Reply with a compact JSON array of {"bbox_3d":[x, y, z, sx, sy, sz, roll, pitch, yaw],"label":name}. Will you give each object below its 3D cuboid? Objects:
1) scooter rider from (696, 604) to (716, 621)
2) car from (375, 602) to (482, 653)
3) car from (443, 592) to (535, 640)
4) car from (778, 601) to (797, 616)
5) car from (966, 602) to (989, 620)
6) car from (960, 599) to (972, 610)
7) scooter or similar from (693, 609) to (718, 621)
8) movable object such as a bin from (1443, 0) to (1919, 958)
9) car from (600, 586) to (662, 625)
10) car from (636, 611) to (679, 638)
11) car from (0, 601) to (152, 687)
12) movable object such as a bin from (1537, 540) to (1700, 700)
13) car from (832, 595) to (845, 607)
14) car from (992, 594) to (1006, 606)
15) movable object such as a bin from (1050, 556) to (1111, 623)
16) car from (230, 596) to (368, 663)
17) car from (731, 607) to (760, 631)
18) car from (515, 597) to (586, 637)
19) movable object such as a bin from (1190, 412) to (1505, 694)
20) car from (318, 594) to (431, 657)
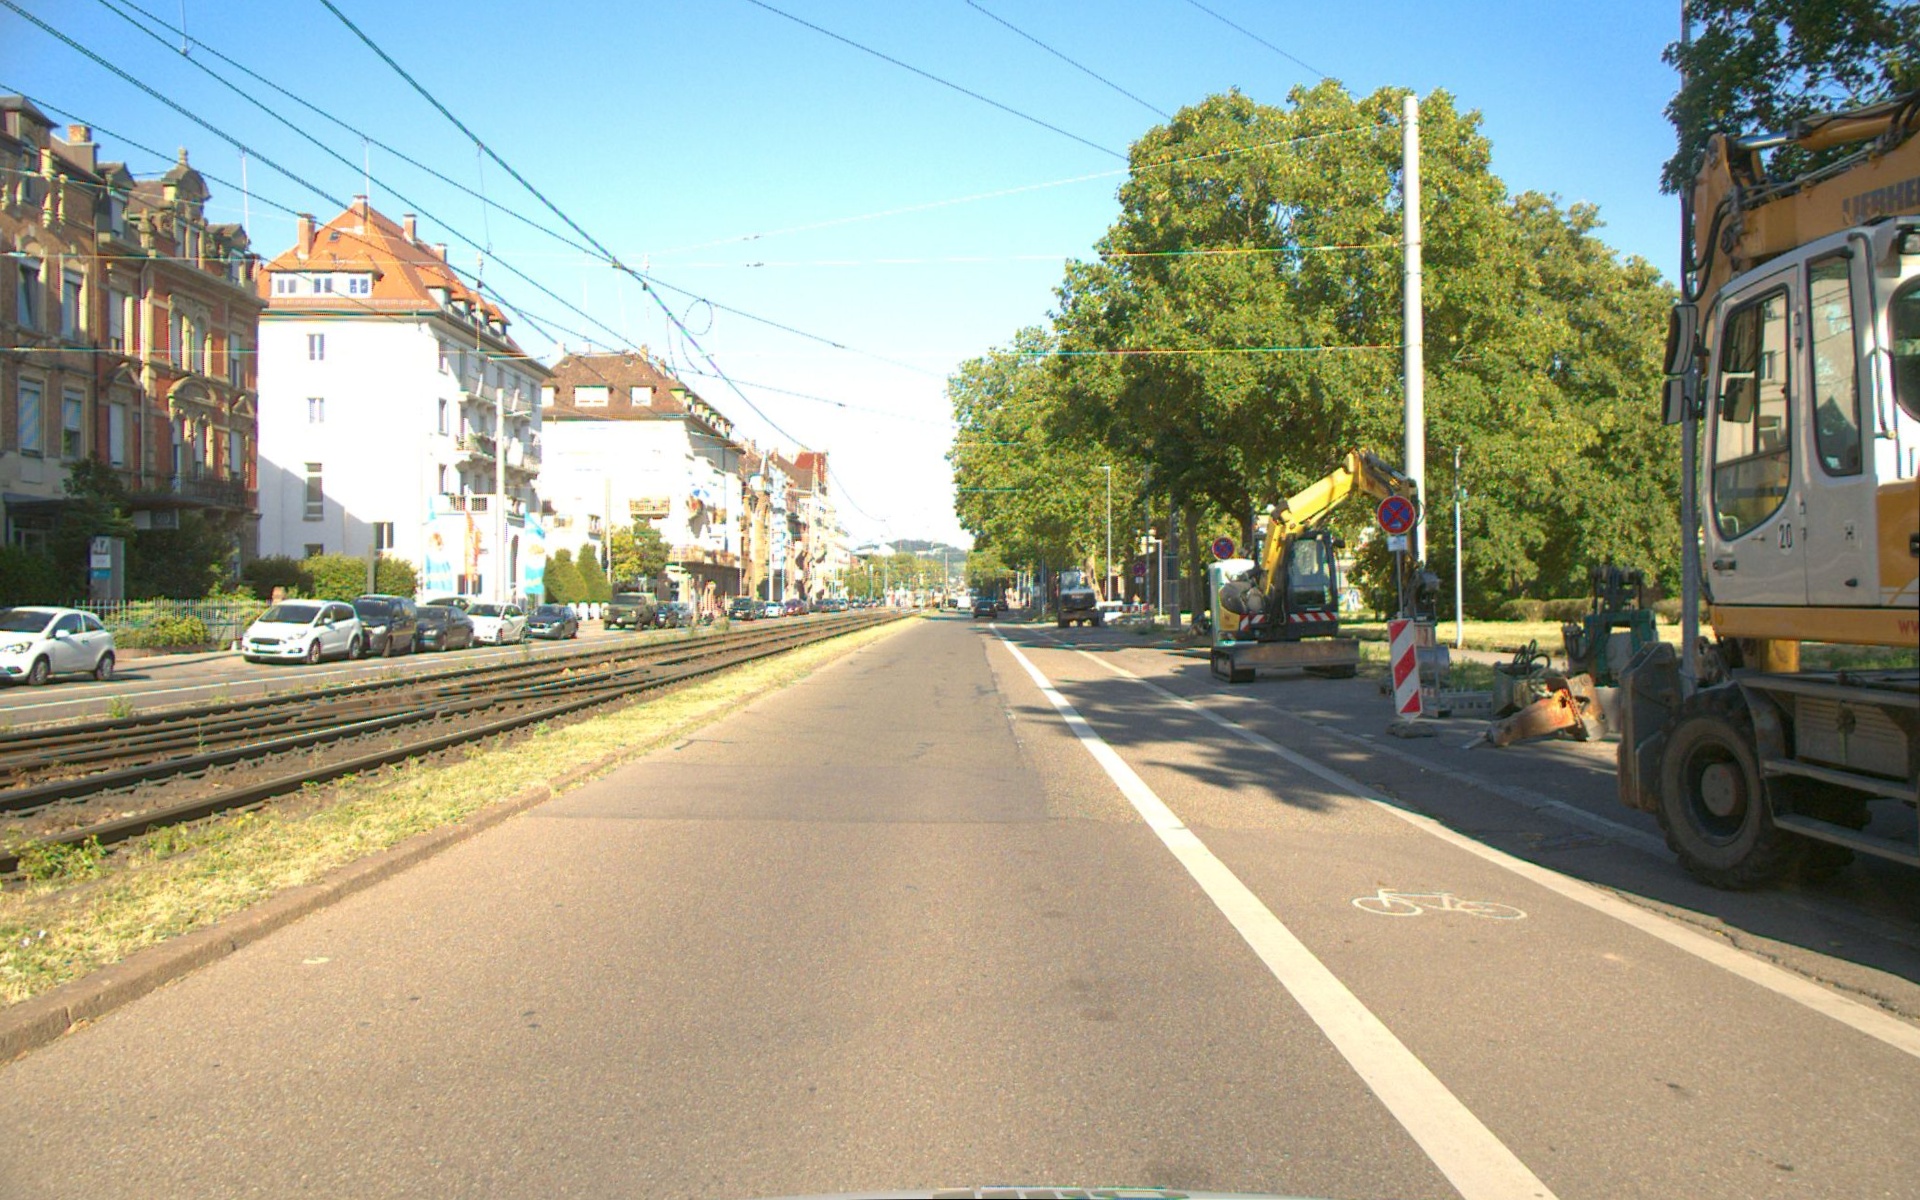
[{"bbox_3d":[-16.902,0.806,110.022,0.958,1.108,0.806,-1,0,31],"label":"scooter rider"},{"bbox_3d":[-17.907,0.904,55.958,1.880,1.588,4.844,1,0,2],"label":"car"},{"bbox_3d":[-17.779,0.566,62.686,1.880,1.724,4.844,1,0,2],"label":"car"},{"bbox_3d":[-17.995,0.888,172.490,1.797,1.415,4.032,3,0,-4],"label":"car"},{"bbox_3d":[1.450,0.893,137.693,1.796,1.415,4.158,0,0,0],"label":"car"},{"bbox_3d":[0.843,0.618,243.378,1.757,1.537,3.999,1,-1,0],"label":"car"},{"bbox_3d":[-16.935,1.005,110.041,1.536,0.784,0.806,-1,0,32],"label":"scooter or similar"},{"bbox_3d":[5.281,-0.930,8.666,2.856,4.690,7.596,-3,0,-2],"label":"movable object such as a bin"},{"bbox_3d":[-18.093,0.294,91.212,2.034,2.045,5.593,1,0,2],"label":"car"},{"bbox_3d":[-17.809,1.458,97.435,1.601,1.534,4.160,0,-1,2],"label":"car"},{"bbox_3d":[-18.375,0.821,33.134,1.880,1.565,4.629,0,0,4],"label":"car"},{"bbox_3d":[7.772,0.226,19.609,1.290,1.696,1.303,-7,0,4],"label":"movable object such as a bin"},{"bbox_3d":[-17.560,0.123,239.232,1.759,1.536,3.997,3,0,-4],"label":"car"},{"bbox_3d":[4.920,0.014,209.345,1.757,1.537,4.000,0,0,0],"label":"car"},{"bbox_3d":[6.356,-0.568,88.071,2.688,3.200,7.220,-4,0,1],"label":"movable object such as a bin"},{"bbox_3d":[-18.129,0.768,45.618,1.881,1.713,4.627,1,0,0],"label":"car"},{"bbox_3d":[-17.391,1.513,134.175,1.824,1.817,4.401,1,1,-1],"label":"car"},{"bbox_3d":[-17.725,0.717,71.756,1.882,1.486,4.841,5,0,-1],"label":"car"},{"bbox_3d":[6.341,-0.720,28.590,3.271,4.045,7.596,-3,0,-2],"label":"movable object such as a bin"},{"bbox_3d":[-17.935,0.741,50.883,1.881,1.812,4.498,1,0,0],"label":"car"}]
